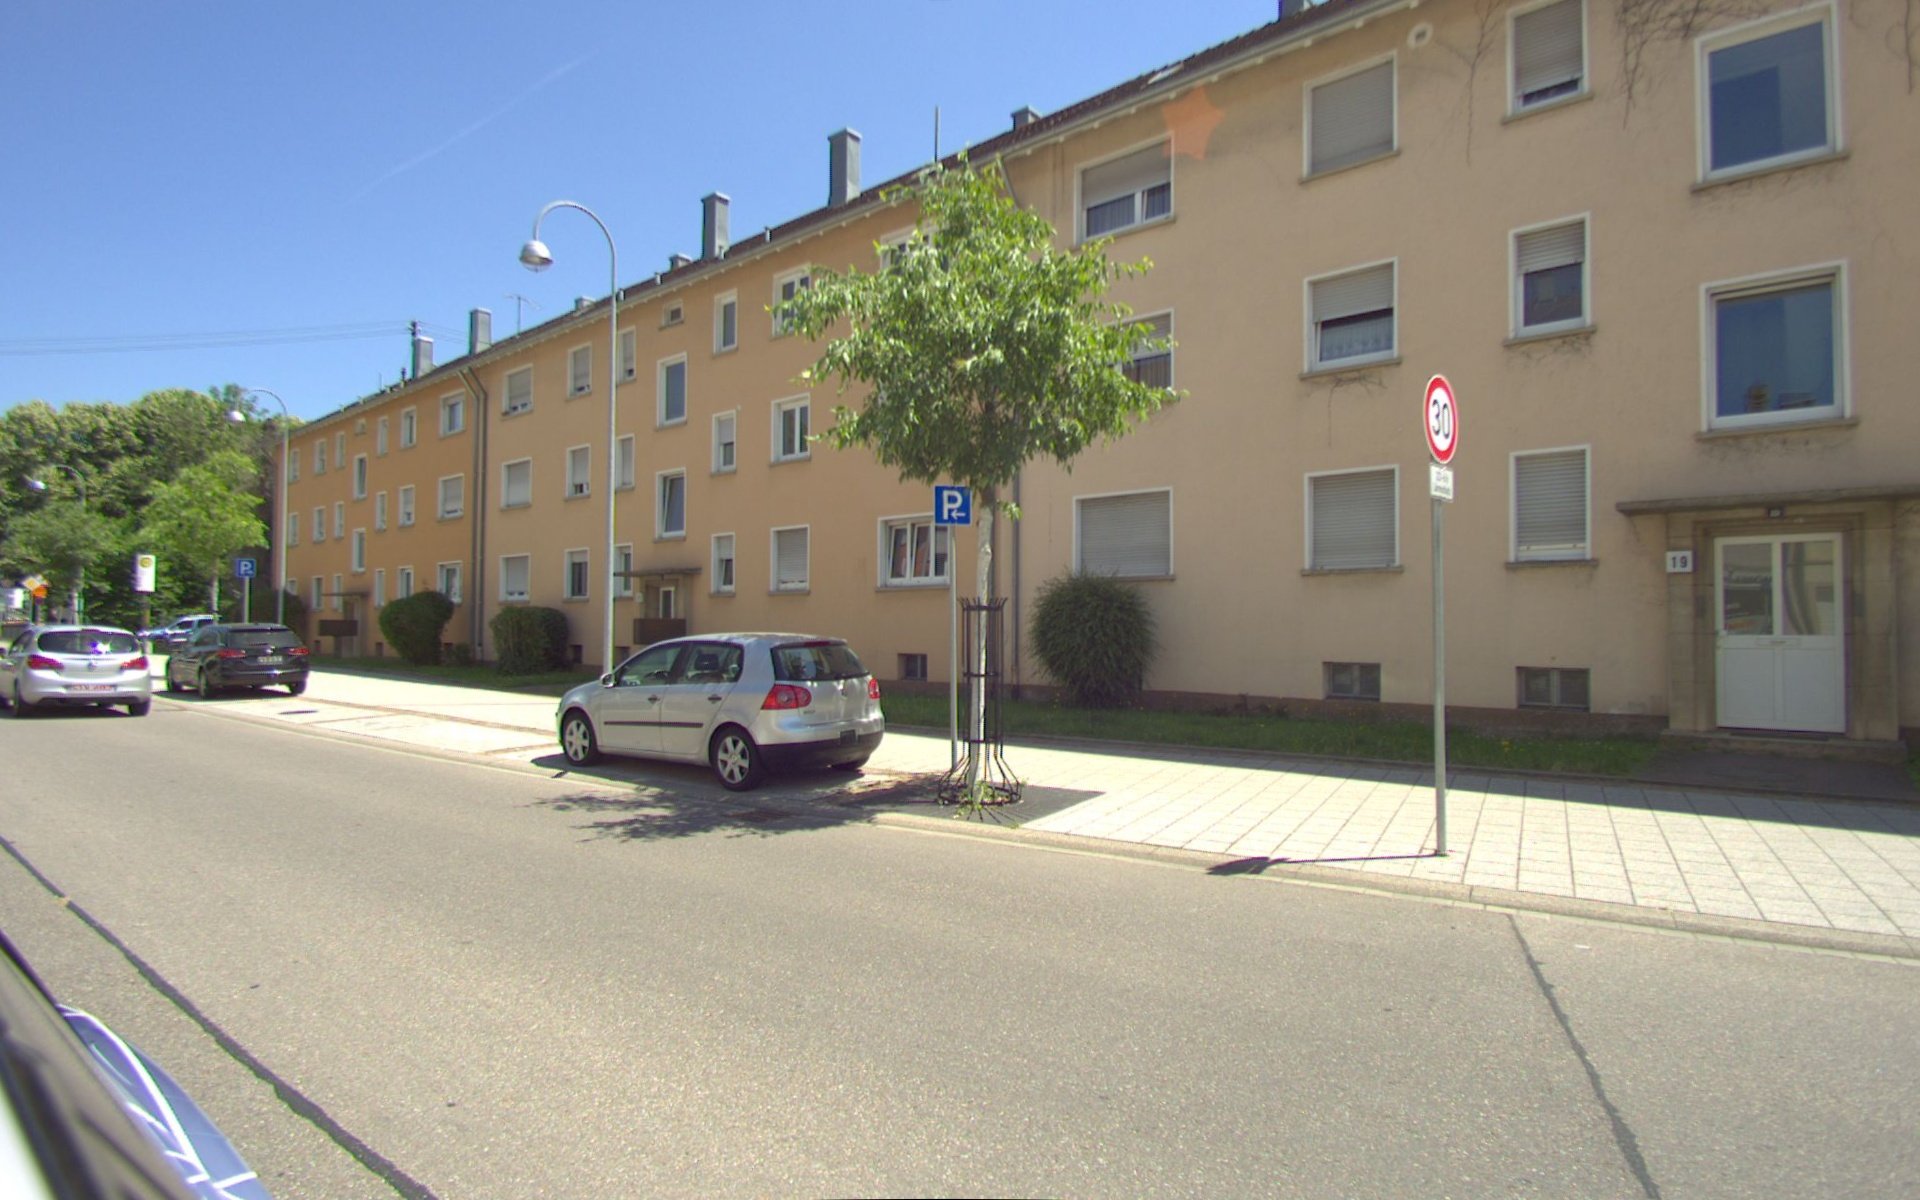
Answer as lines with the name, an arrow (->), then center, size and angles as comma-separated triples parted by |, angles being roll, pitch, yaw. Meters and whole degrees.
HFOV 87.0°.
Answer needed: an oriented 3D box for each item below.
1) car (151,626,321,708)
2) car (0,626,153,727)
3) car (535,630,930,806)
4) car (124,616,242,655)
car -> -15.438, 1.352, 21.488 | 4.558, 1.518, 1.839 | -2, -1, 40
car -> -15.096, 1.214, 17.092 | 3.758, 1.508, 1.642 | -1, -3, 41
car -> -2.523, 1.083, 10.838 | 4.081, 1.431, 1.975 | 0, -1, 37
car -> -39.533, 1.818, 51.576 | 1.812, 1.888, 4.392 | -1, -2, 30
